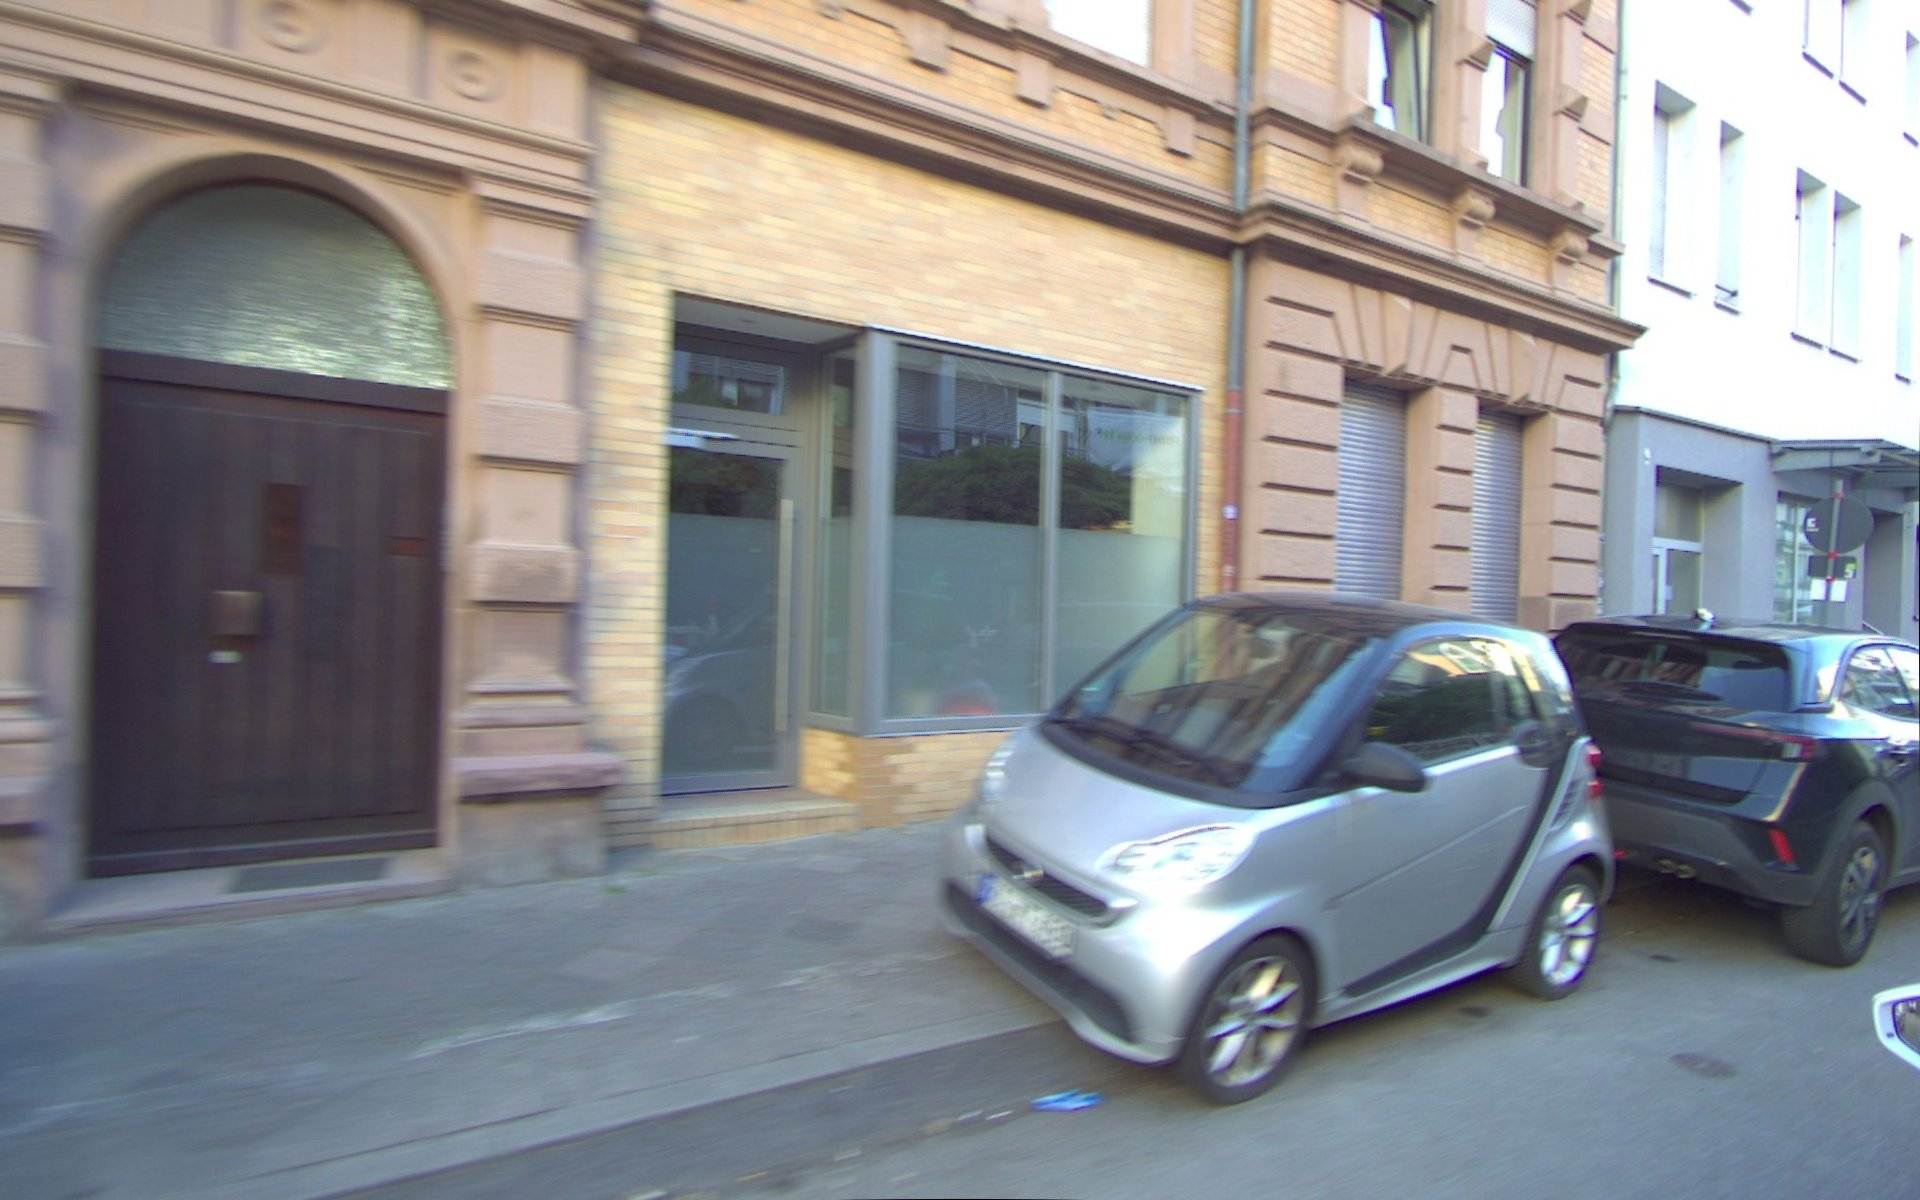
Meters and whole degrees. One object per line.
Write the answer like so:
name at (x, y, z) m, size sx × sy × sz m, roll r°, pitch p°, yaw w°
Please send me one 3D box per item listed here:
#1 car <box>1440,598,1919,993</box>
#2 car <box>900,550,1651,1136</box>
car at (4.866, 0.867, 5.991) m, size 3.970 × 1.621 × 1.730 m, roll 2°, pitch 0°, yaw -32°
car at (1.328, 0.690, 4.102) m, size 2.763 × 1.610 × 1.388 m, roll 2°, pitch 3°, yaw -32°
